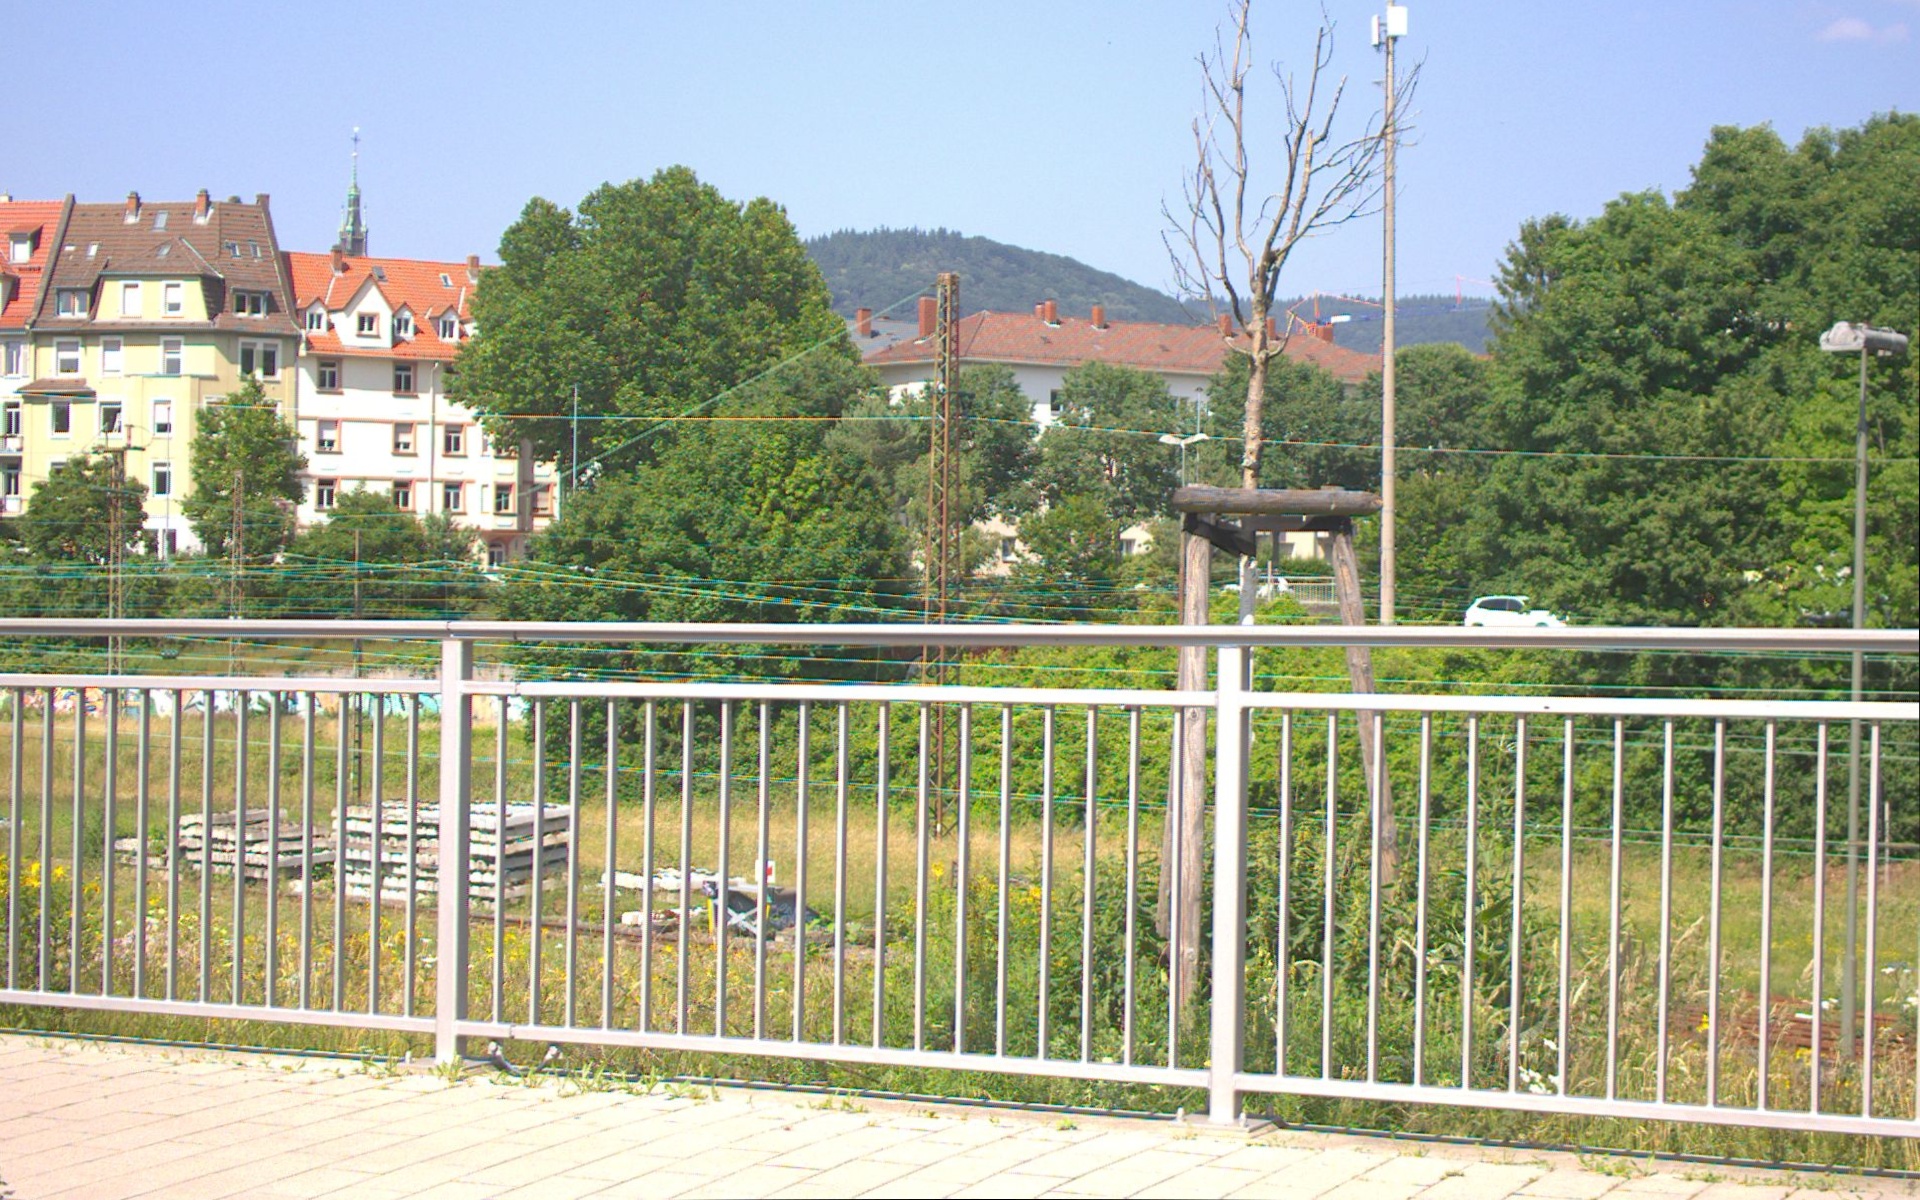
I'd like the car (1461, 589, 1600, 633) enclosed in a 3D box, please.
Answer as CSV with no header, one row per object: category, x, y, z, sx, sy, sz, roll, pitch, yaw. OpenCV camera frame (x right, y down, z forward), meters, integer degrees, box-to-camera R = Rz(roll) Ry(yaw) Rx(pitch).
car,18.065,0.336,108.996,1.860,1.362,4.315,0,0,-35
